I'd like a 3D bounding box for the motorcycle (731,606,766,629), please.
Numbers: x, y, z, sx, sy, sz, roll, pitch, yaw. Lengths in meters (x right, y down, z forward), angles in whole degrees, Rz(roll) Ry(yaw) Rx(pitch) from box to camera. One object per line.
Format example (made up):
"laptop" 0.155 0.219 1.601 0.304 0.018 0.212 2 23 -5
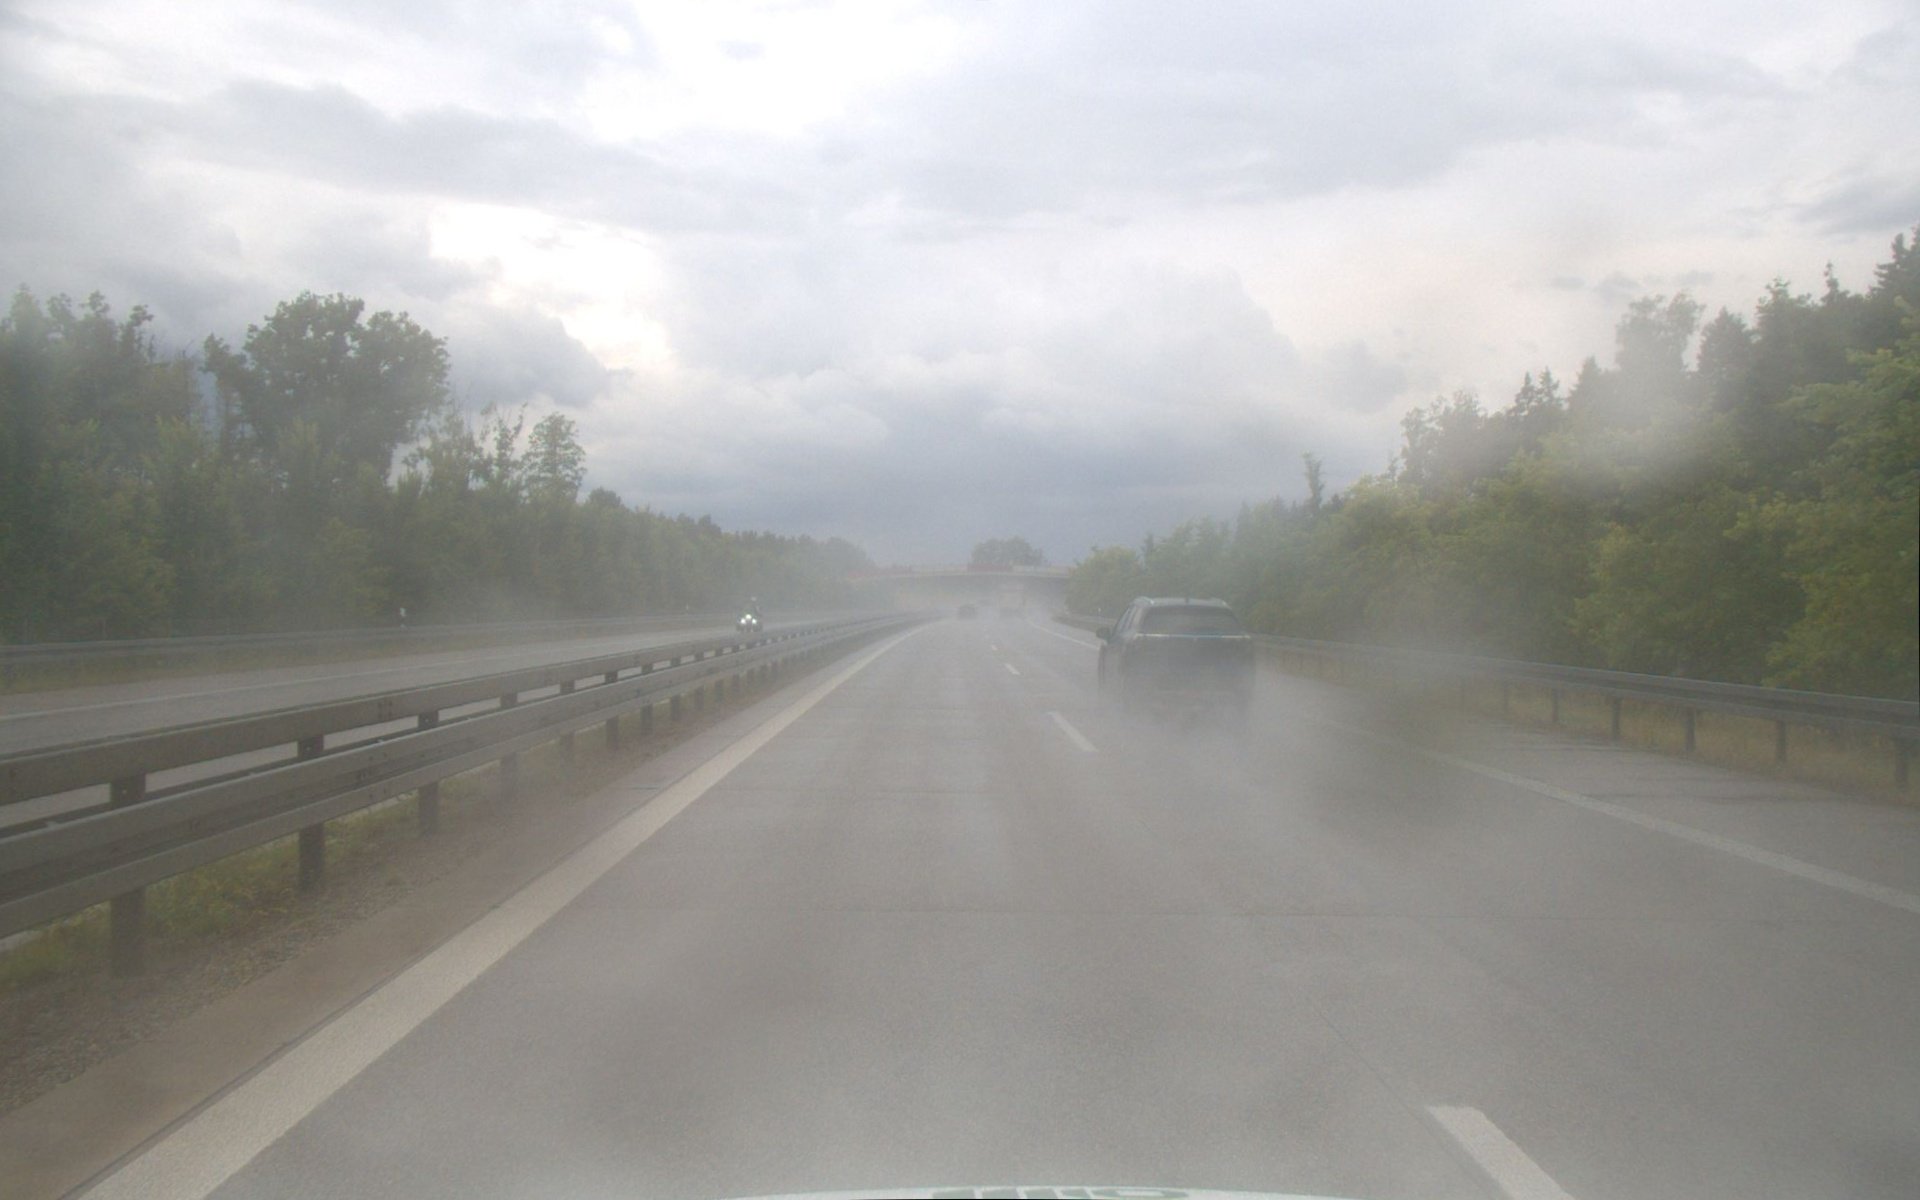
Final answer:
"motorcycle" -7.130 0.585 55.943 1.001 0.738 2.278 2 0 -3

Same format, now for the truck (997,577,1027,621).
"truck" 5.529 -0.094 176.541 3.176 4.515 8.247 0 0 1

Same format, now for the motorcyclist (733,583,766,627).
"motorcyclist" -7.124 0.176 56.014 0.994 1.457 0.920 2 -1 -3

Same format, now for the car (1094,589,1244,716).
"car" 2.826 0.691 23.044 1.854 1.603 3.633 1 -1 4
